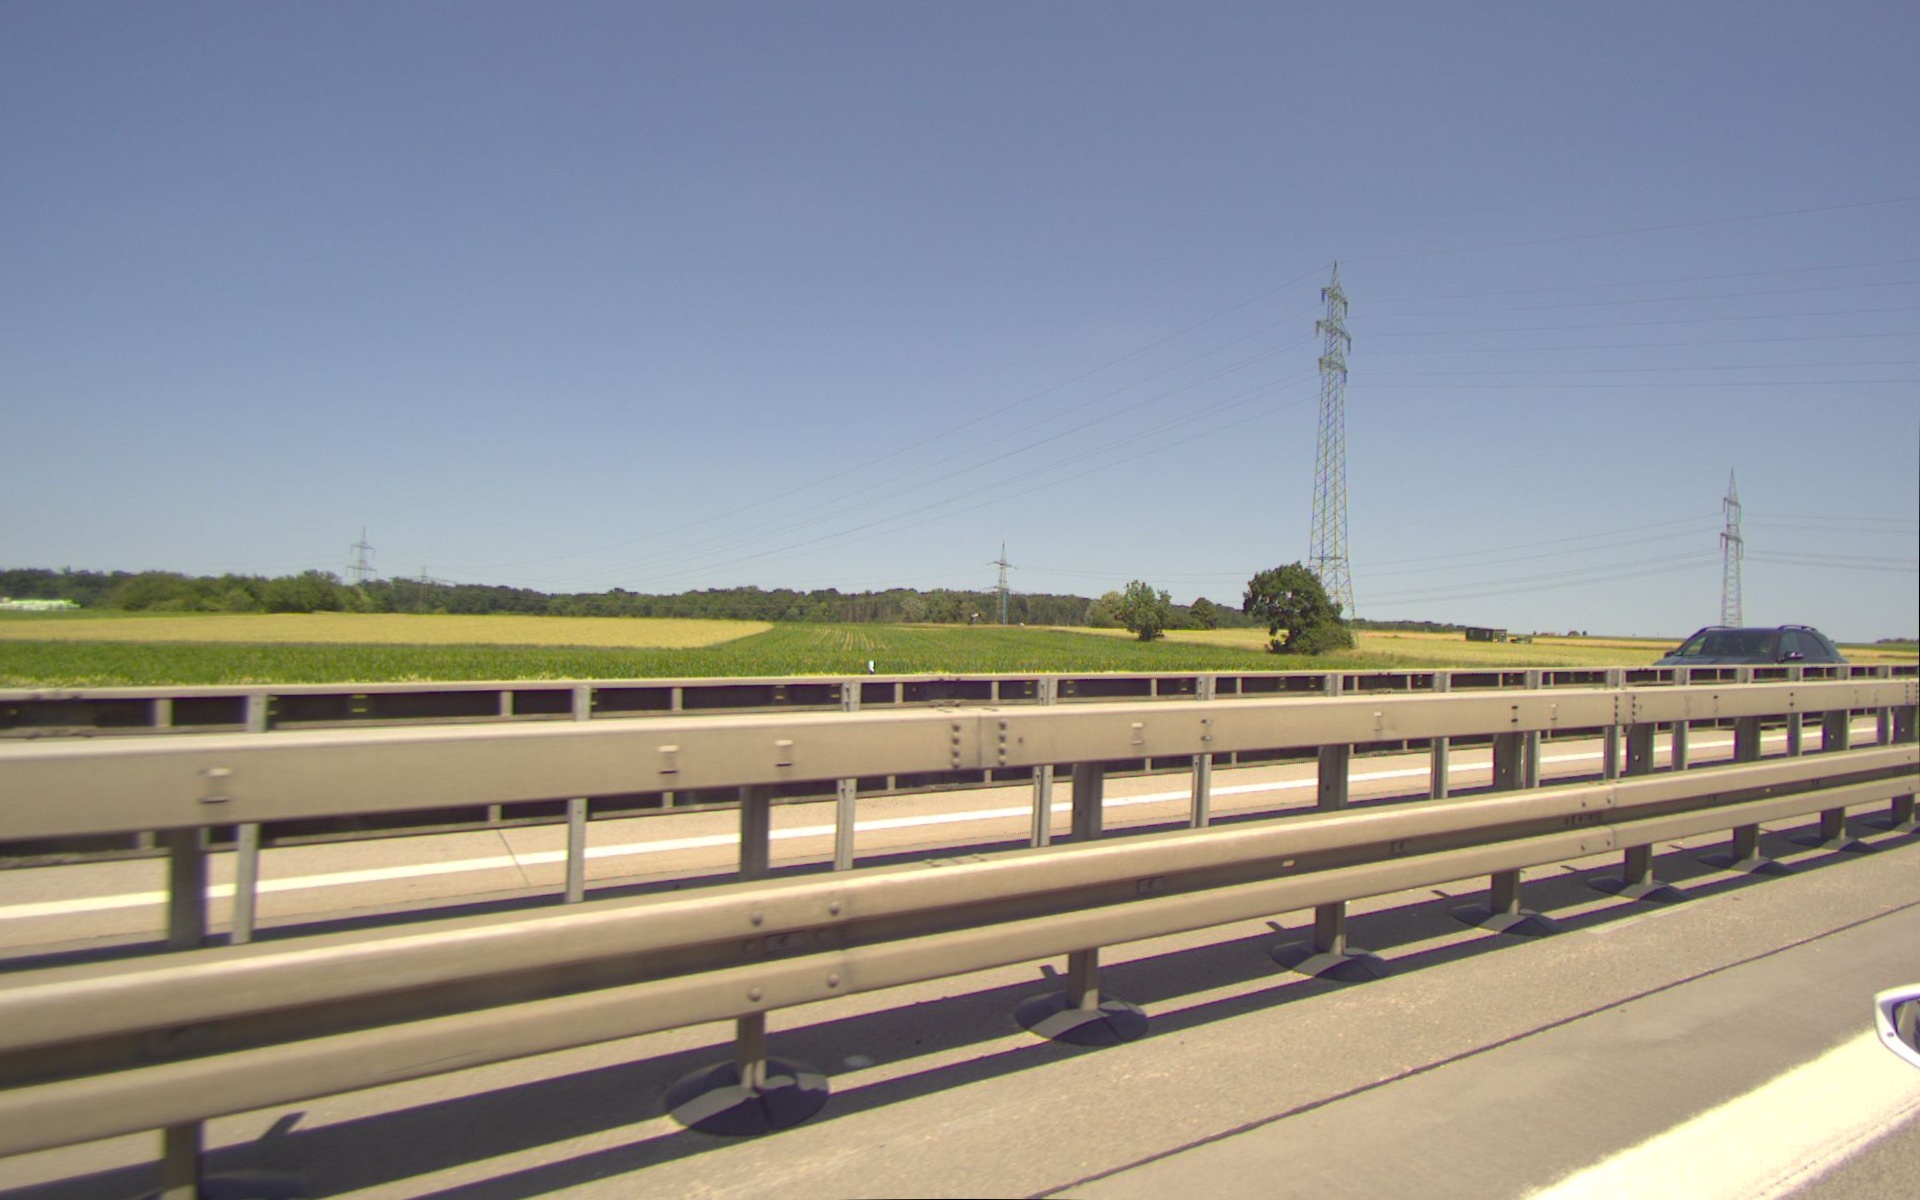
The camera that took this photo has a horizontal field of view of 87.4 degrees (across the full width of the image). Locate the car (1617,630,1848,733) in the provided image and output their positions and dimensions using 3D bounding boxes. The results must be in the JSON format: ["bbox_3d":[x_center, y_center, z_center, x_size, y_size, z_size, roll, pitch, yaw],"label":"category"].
[{"bbox_3d":[13.988,1.441,18.138,4.377,1.661,1.802,2,-3,-31],"label":"car"}]
